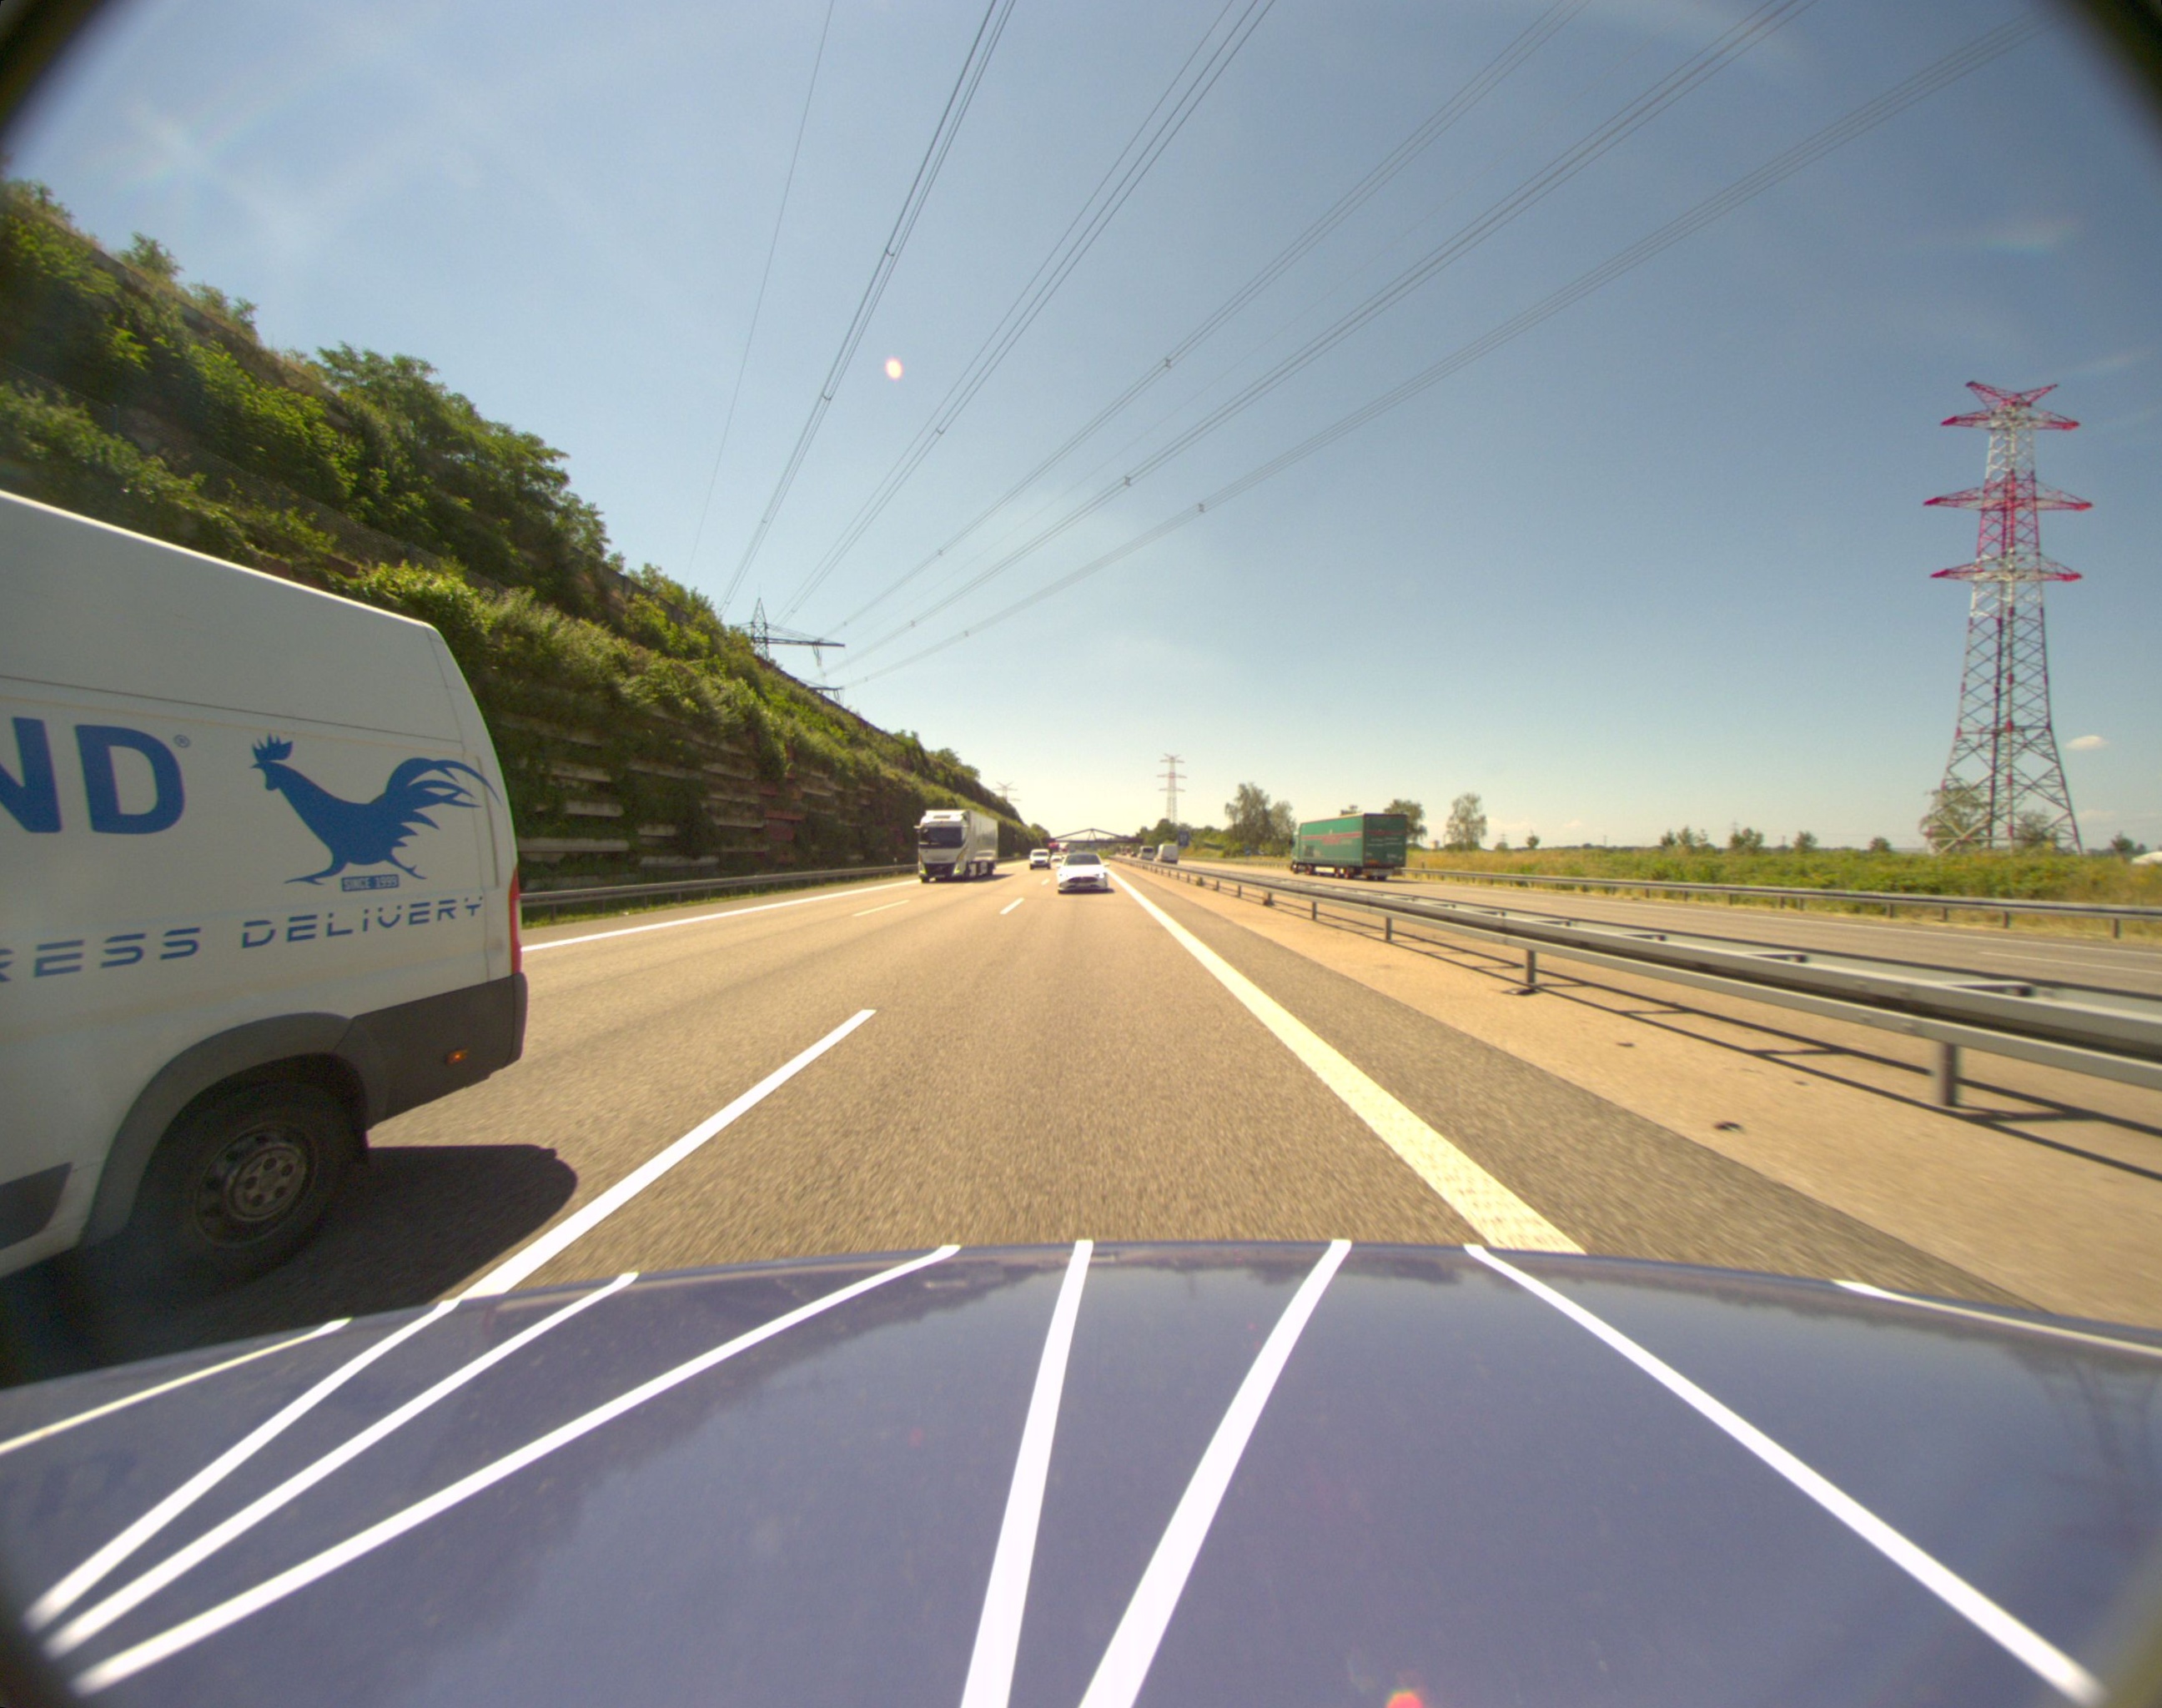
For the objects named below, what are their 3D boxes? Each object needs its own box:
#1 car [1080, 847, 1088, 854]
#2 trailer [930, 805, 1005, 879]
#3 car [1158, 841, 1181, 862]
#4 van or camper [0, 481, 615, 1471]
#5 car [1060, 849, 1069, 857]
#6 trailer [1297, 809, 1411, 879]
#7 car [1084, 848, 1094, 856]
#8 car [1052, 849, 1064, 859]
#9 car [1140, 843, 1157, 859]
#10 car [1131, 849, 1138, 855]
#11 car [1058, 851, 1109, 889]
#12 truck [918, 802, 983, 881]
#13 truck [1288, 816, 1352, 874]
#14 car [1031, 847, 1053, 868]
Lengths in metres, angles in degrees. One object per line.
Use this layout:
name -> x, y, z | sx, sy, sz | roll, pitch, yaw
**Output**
car -> 0.883, -0.961, 209.782 | 1.998, 2.002, 3.999 | -2, 1, 1
trailer -> -7.287, -0.746, 51.590 | 2.521, 4.187, 17.025 | 0, 0, 0
car -> 10.624, -0.313, 91.812 | 2.053, 2.424, 6.068 | 1, 1, 0
van or camper -> -4.062, 0.351, 1.448 | 2.102, 2.753, 6.756 | -1, 1, 0
car -> -3.401, -0.233, 157.273 | 1.784, 1.475, 3.999 | -1, 1, -1
trailer -> 17.872, -0.638, 51.205 | 2.676, 4.061, 13.914 | 0, 1, 0
car -> 1.490, -0.346, 147.920 | 1.784, 1.475, 3.999 | 0, 0, -1
car -> -3.542, -0.038, 118.939 | 1.784, 1.475, 3.999 | -1, 1, -1
car -> 10.405, -0.498, 117.682 | 2.114, 2.284, 6.706 | 0, 1, 0
car -> 14.882, -0.486, 210.664 | 1.622, 1.451, 4.283 | 3, 0, -1
car -> 0.078, 0.629, 32.509 | 1.999, 1.474, 4.107 | -1, 0, -1
truck -> -7.306, -0.687, 43.286 | 2.514, 4.196, 6.255 | 0, 1, 1
truck -> 17.885, -0.668, 57.293 | 2.706, 4.111, 6.580 | 0, 1, 0
car -> -3.554, 0.304, 69.403 | 1.784, 1.783, 3.999 | -1, 1, -1
